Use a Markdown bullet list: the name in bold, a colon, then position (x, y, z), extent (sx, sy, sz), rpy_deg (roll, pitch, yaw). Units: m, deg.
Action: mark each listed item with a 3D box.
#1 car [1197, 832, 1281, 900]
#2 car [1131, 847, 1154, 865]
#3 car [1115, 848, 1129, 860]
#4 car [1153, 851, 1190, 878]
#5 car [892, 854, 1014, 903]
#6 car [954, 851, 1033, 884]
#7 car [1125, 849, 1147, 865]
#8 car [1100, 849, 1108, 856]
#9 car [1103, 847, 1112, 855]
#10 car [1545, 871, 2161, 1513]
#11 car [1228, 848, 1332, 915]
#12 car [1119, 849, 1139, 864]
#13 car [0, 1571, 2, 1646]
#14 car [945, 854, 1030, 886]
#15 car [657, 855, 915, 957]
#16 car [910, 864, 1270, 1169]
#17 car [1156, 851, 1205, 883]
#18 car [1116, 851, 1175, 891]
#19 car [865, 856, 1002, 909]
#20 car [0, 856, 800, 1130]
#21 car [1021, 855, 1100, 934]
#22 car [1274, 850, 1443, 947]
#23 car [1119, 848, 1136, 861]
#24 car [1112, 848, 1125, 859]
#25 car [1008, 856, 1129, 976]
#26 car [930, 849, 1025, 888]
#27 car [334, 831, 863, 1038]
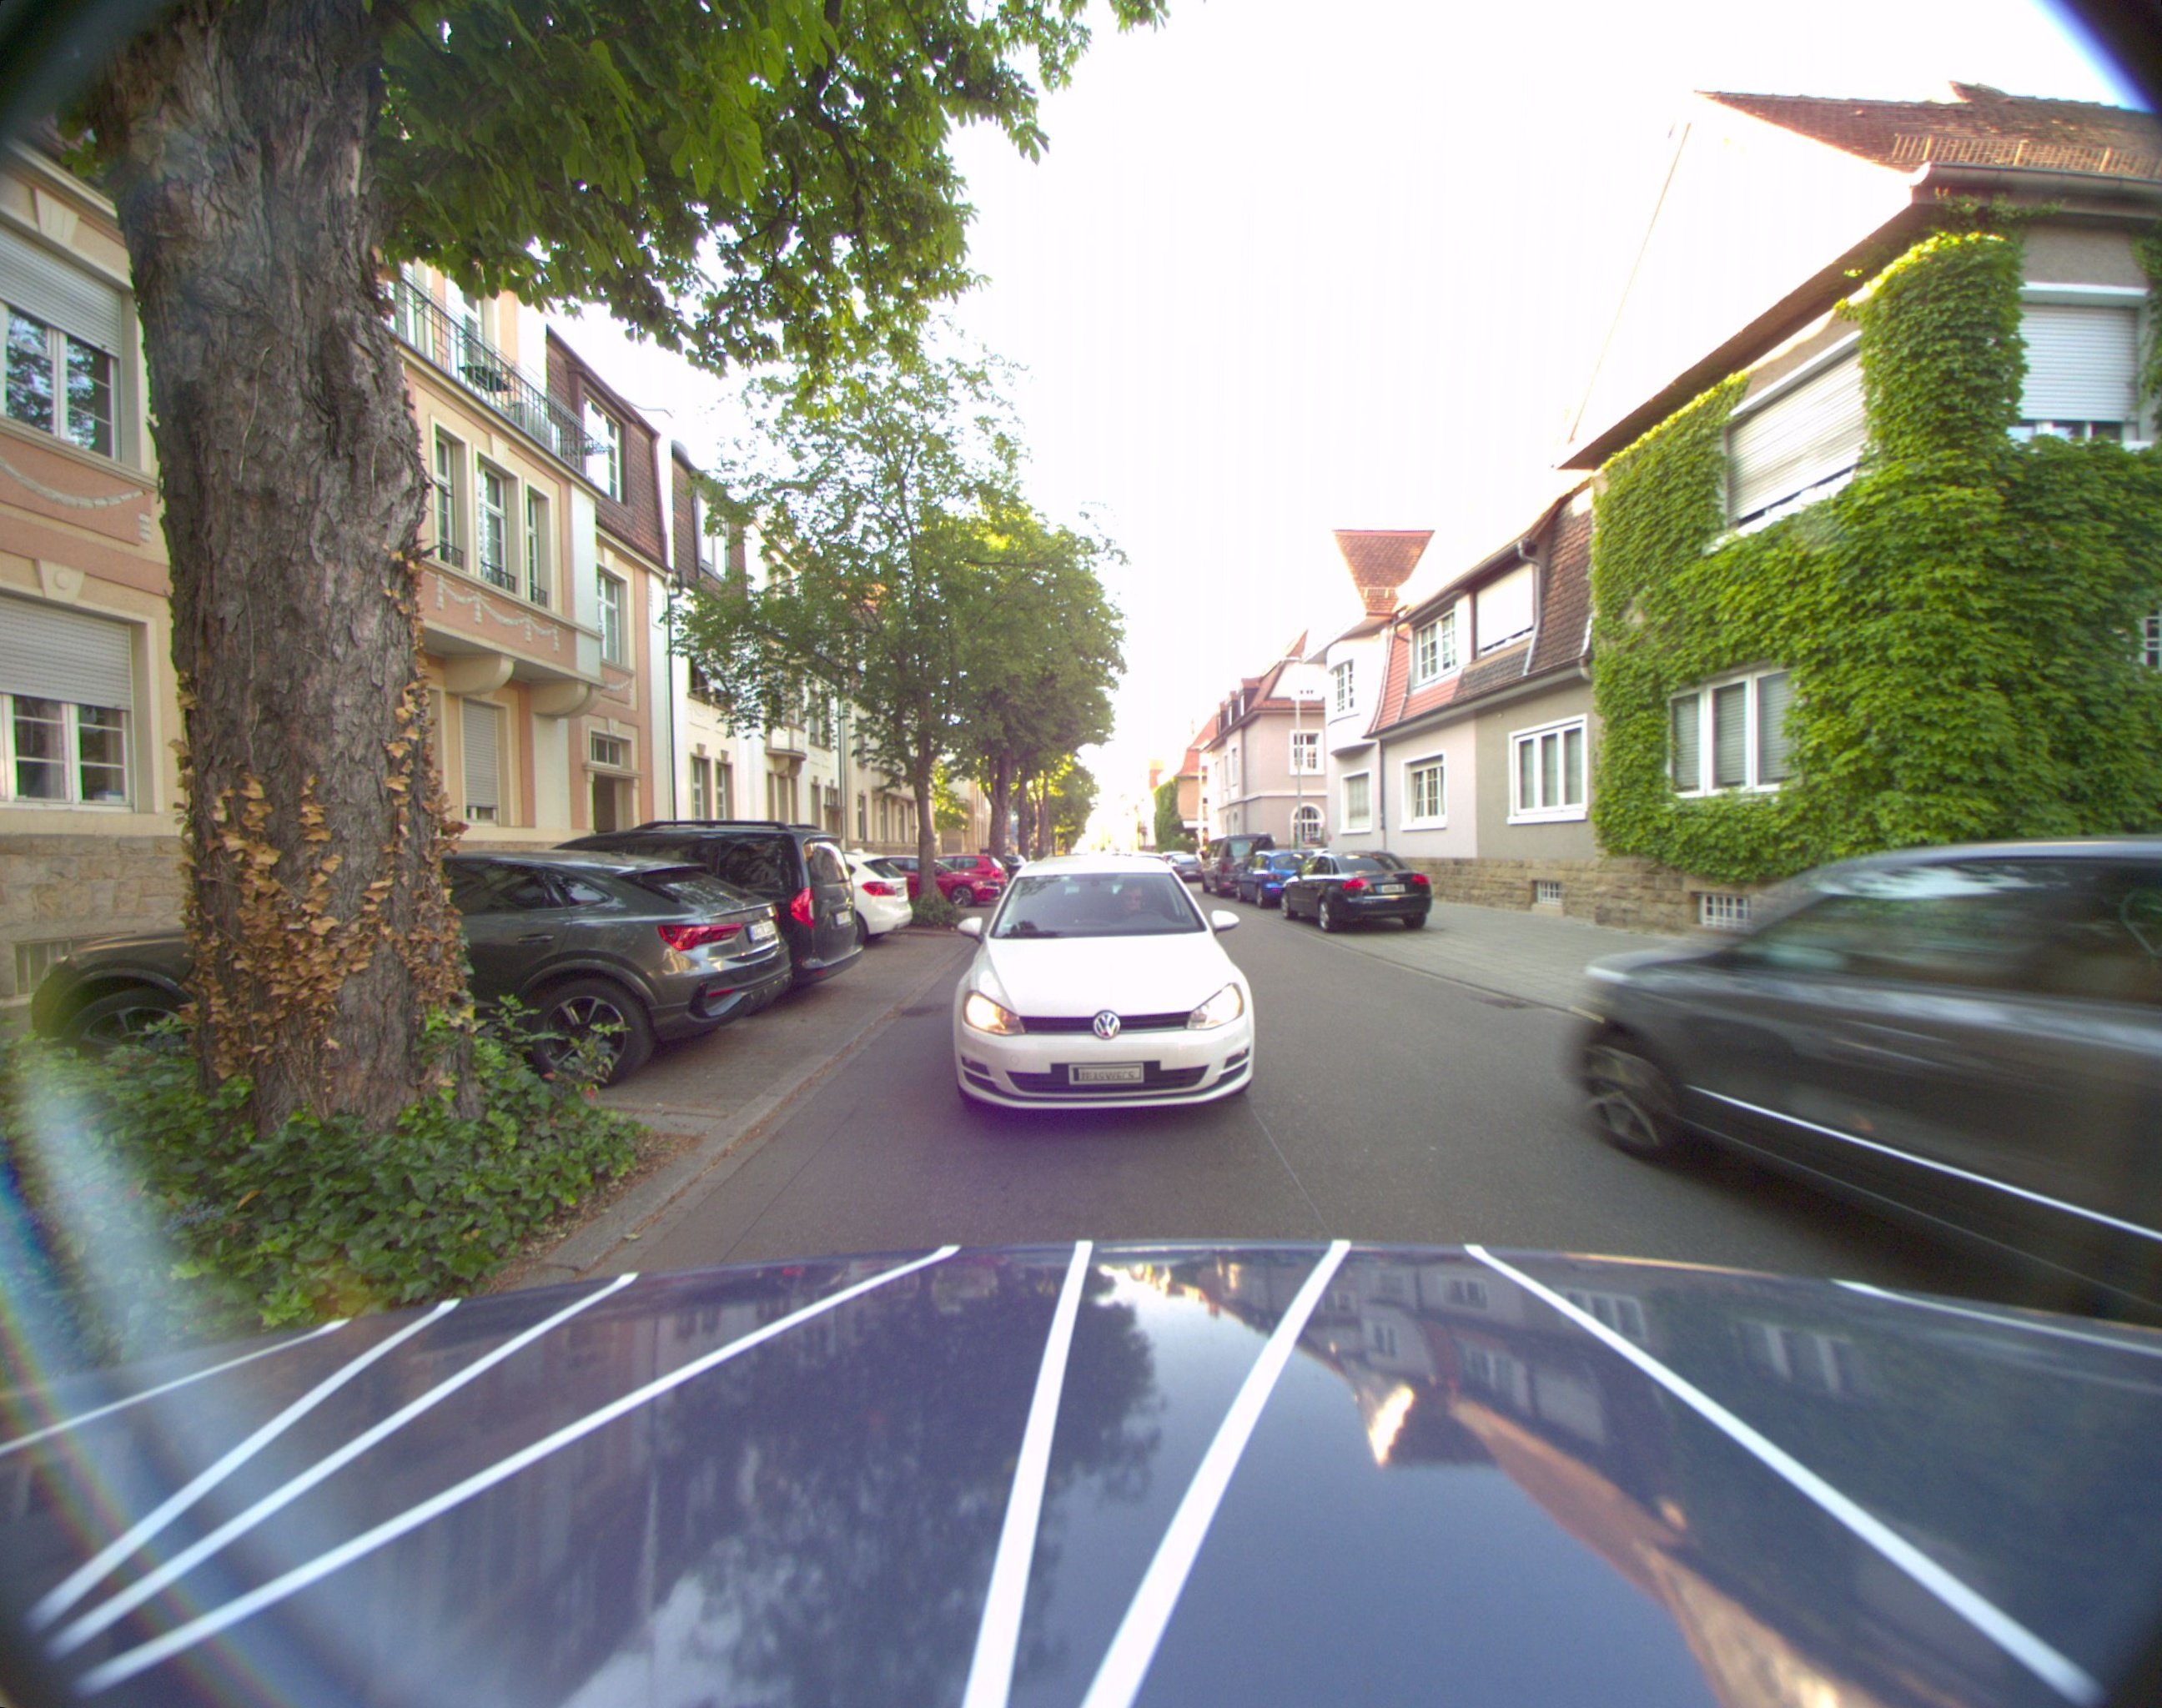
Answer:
- **car**: position (5.132, 0.326, 25.223), extent (1.719, 1.961, 4.310), rpy_deg (-4, 1, 0)
- **car**: position (5.487, 0.189, 68.242), extent (1.643, 1.461, 3.945), rpy_deg (-3, 0, 0)
- **car**: position (5.450, -0.061, 101.144), extent (1.643, 1.461, 3.689), rpy_deg (-3, 0, 0)
- **car**: position (4.973, 0.549, 42.165), extent (1.541, 1.363, 3.945), rpy_deg (-3, 0, 0)
- **car**: position (-4.047, 0.765, 24.331), extent (3.622, 1.456, 1.537), rpy_deg (1, 1, 0)
- **car**: position (-4.204, 0.643, 36.849), extent (3.622, 1.555, 1.537), rpy_deg (0, 1, 0)
- **car**: position (5.424, 0.305, 75.150), extent (1.643, 1.461, 3.688), rpy_deg (-3, 0, -4)
- **car**: position (5.145, -0.446, 173.331), extent (1.643, 1.461, 3.689), rpy_deg (-3, 0, 0)
- **car**: position (5.230, -0.533, 149.475), extent (1.643, 1.461, 3.689), rpy_deg (-3, 0, 0)
- **car**: position (3.428, 0.865, 2.377), extent (1.620, 1.493, 3.591), rpy_deg (1, 1, -3)
- **car**: position (5.201, 0.647, 20.373), extent (1.611, 1.455, 4.023), rpy_deg (-4, 1, 0)
- **car**: position (5.067, 0.237, 80.569), extent (1.643, 1.461, 3.688), rpy_deg (-3, 0, -4)
- **car**: position (-4.667, 0.792, 0.506), extent (4.835, 1.814, 1.880), rpy_deg (1, 1, -4)
- **car**: position (-4.143, 0.723, 34.149), extent (3.622, 1.395, 1.537), rpy_deg (0, 1, 0)
- **car**: position (-4.668, 0.805, 12.417), extent (3.623, 1.541, 1.537), rpy_deg (1, 1, -4)
- **car**: position (0.010, 0.858, 5.915), extent (1.799, 1.420, 4.023), rpy_deg (-2, 0, -1)
- **car**: position (4.772, 0.566, 36.851), extent (1.719, 1.363, 4.334), rpy_deg (-3, 0, 0)
- **car**: position (2.531, 0.643, 30.939), extent (1.786, 1.453, 4.298), rpy_deg (1, 0, -3)
- **car**: position (-4.163, 0.792, 21.776), extent (3.622, 1.395, 1.537), rpy_deg (1, 1, 0)
- **car**: position (-4.377, 0.845, 5.404), extent (4.173, 1.583, 1.594), rpy_deg (1, 1, -4)
- **car**: position (-0.387, 0.825, 17.141), extent (1.560, 1.546, 3.738), rpy_deg (1, 0, 1)
- **car**: position (5.053, 0.716, 14.448), extent (1.751, 1.421, 4.023), rpy_deg (-4, 1, 1)
- **car**: position (5.566, 0.036, 91.181), extent (1.643, 1.461, 3.689), rpy_deg (-3, 0, -1)
- **car**: position (5.716, -0.102, 115.870), extent (1.643, 1.461, 3.689), rpy_deg (-3, 0, 0)
- **car**: position (-0.142, 0.837, 12.157), extent (1.600, 1.546, 4.000), rpy_deg (1, 0, 1)
- **car**: position (-4.176, 0.578, 30.933), extent (3.622, 1.555, 1.537), rpy_deg (0, 1, 0)
- **car**: position (-4.480, 0.710, 7.583), extent (4.173, 1.816, 1.594), rpy_deg (1, 1, -4)
